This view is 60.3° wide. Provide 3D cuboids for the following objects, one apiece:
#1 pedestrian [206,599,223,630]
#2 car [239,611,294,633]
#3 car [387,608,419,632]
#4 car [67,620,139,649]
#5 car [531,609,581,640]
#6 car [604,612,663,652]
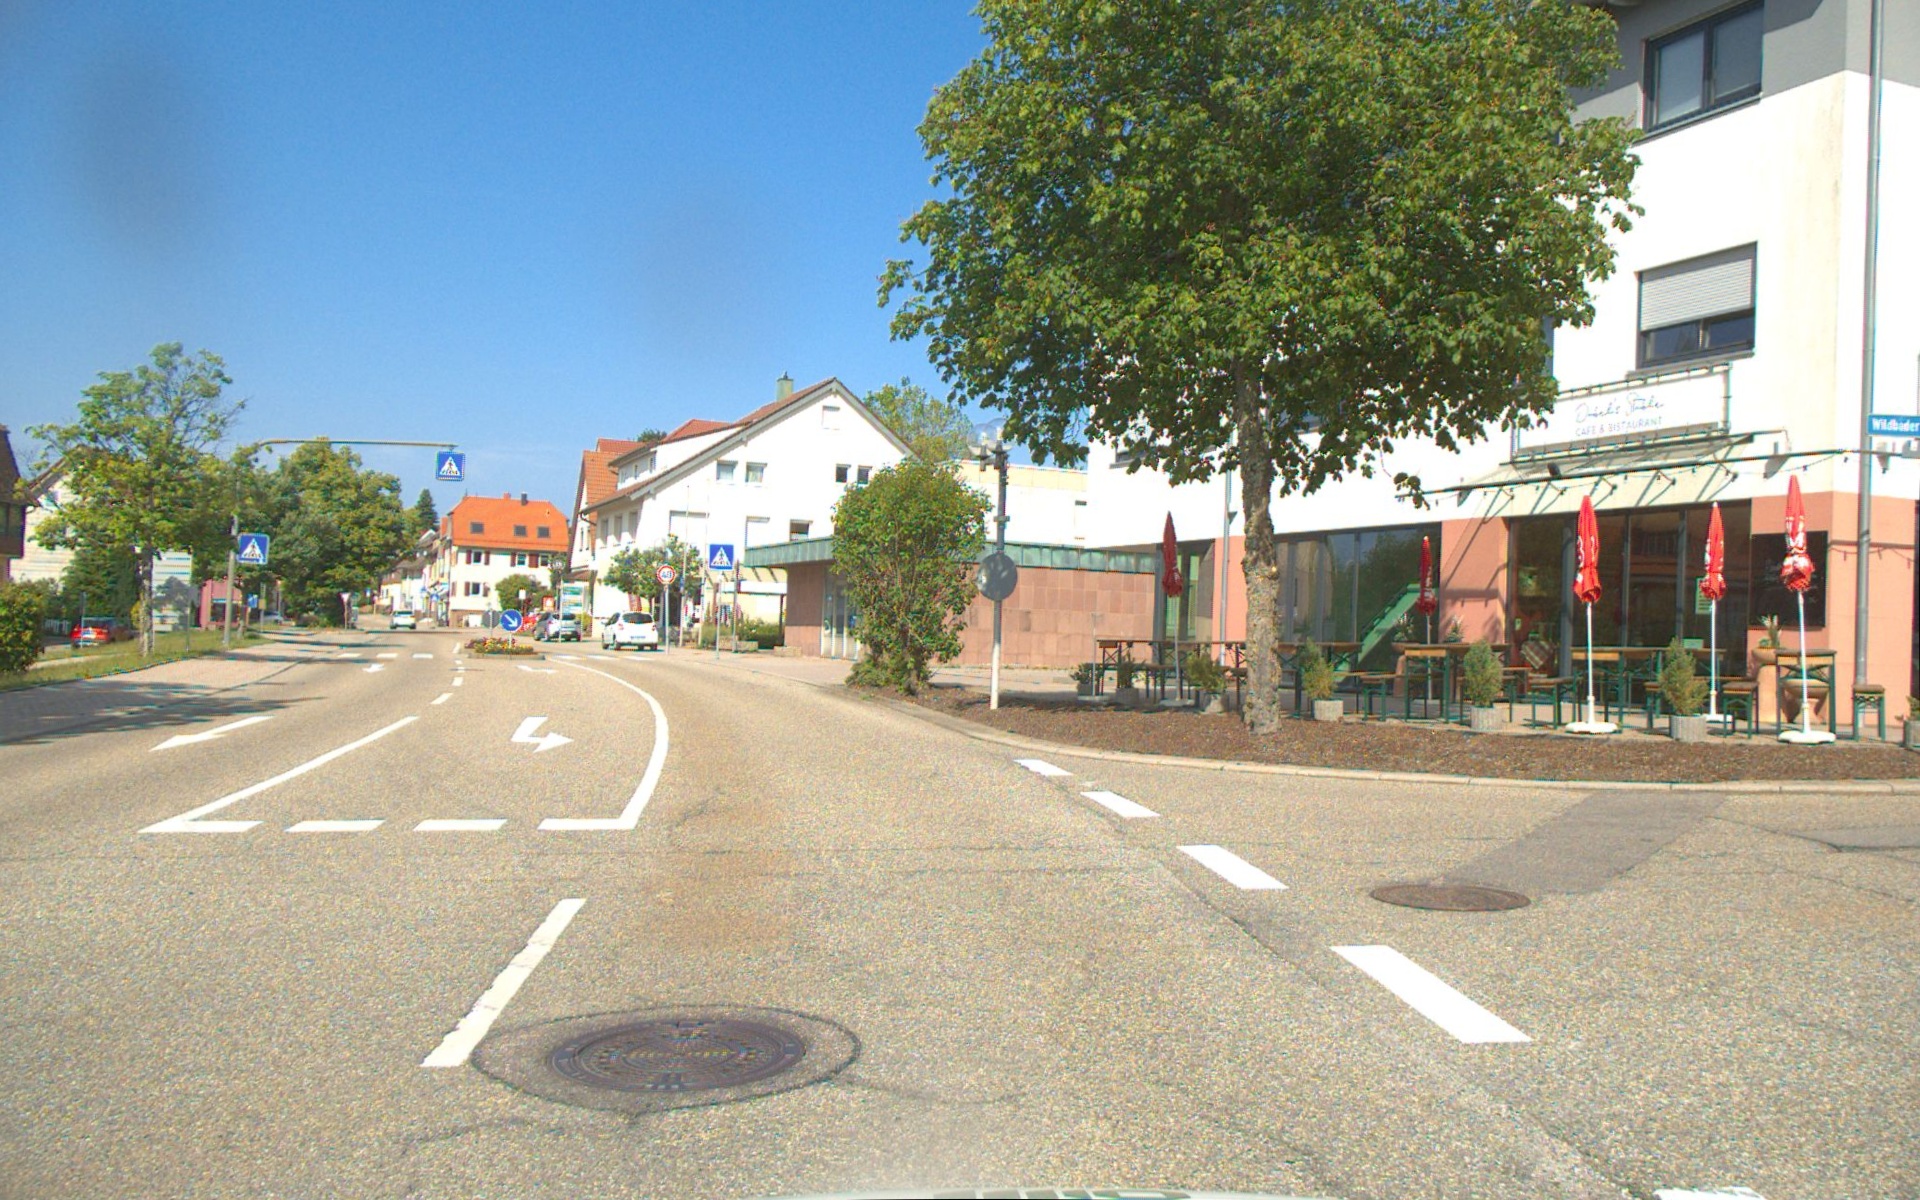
[{"bbox_3d":[-31.410,0.618,69.694,0.621,1.275,0.420,-1,-1,-25],"label":"pedestrian"},{"bbox_3d":[-54.599,1.756,130.277,3.691,1.480,1.813,-1,-6,-10],"label":"car"},{"bbox_3d":[-49.982,1.809,148.366,2.460,2.049,4.276,-1,-1,-21],"label":"car"},{"bbox_3d":[-39.964,1.585,77.214,1.688,1.320,3.993,0,0,-7],"label":"car"},{"bbox_3d":[-19.498,1.158,79.805,1.614,1.444,3.903,0,0,-25],"label":"car"},{"bbox_3d":[-12.444,1.188,62.882,1.734,1.448,3.613,0,0,-19],"label":"car"}]
